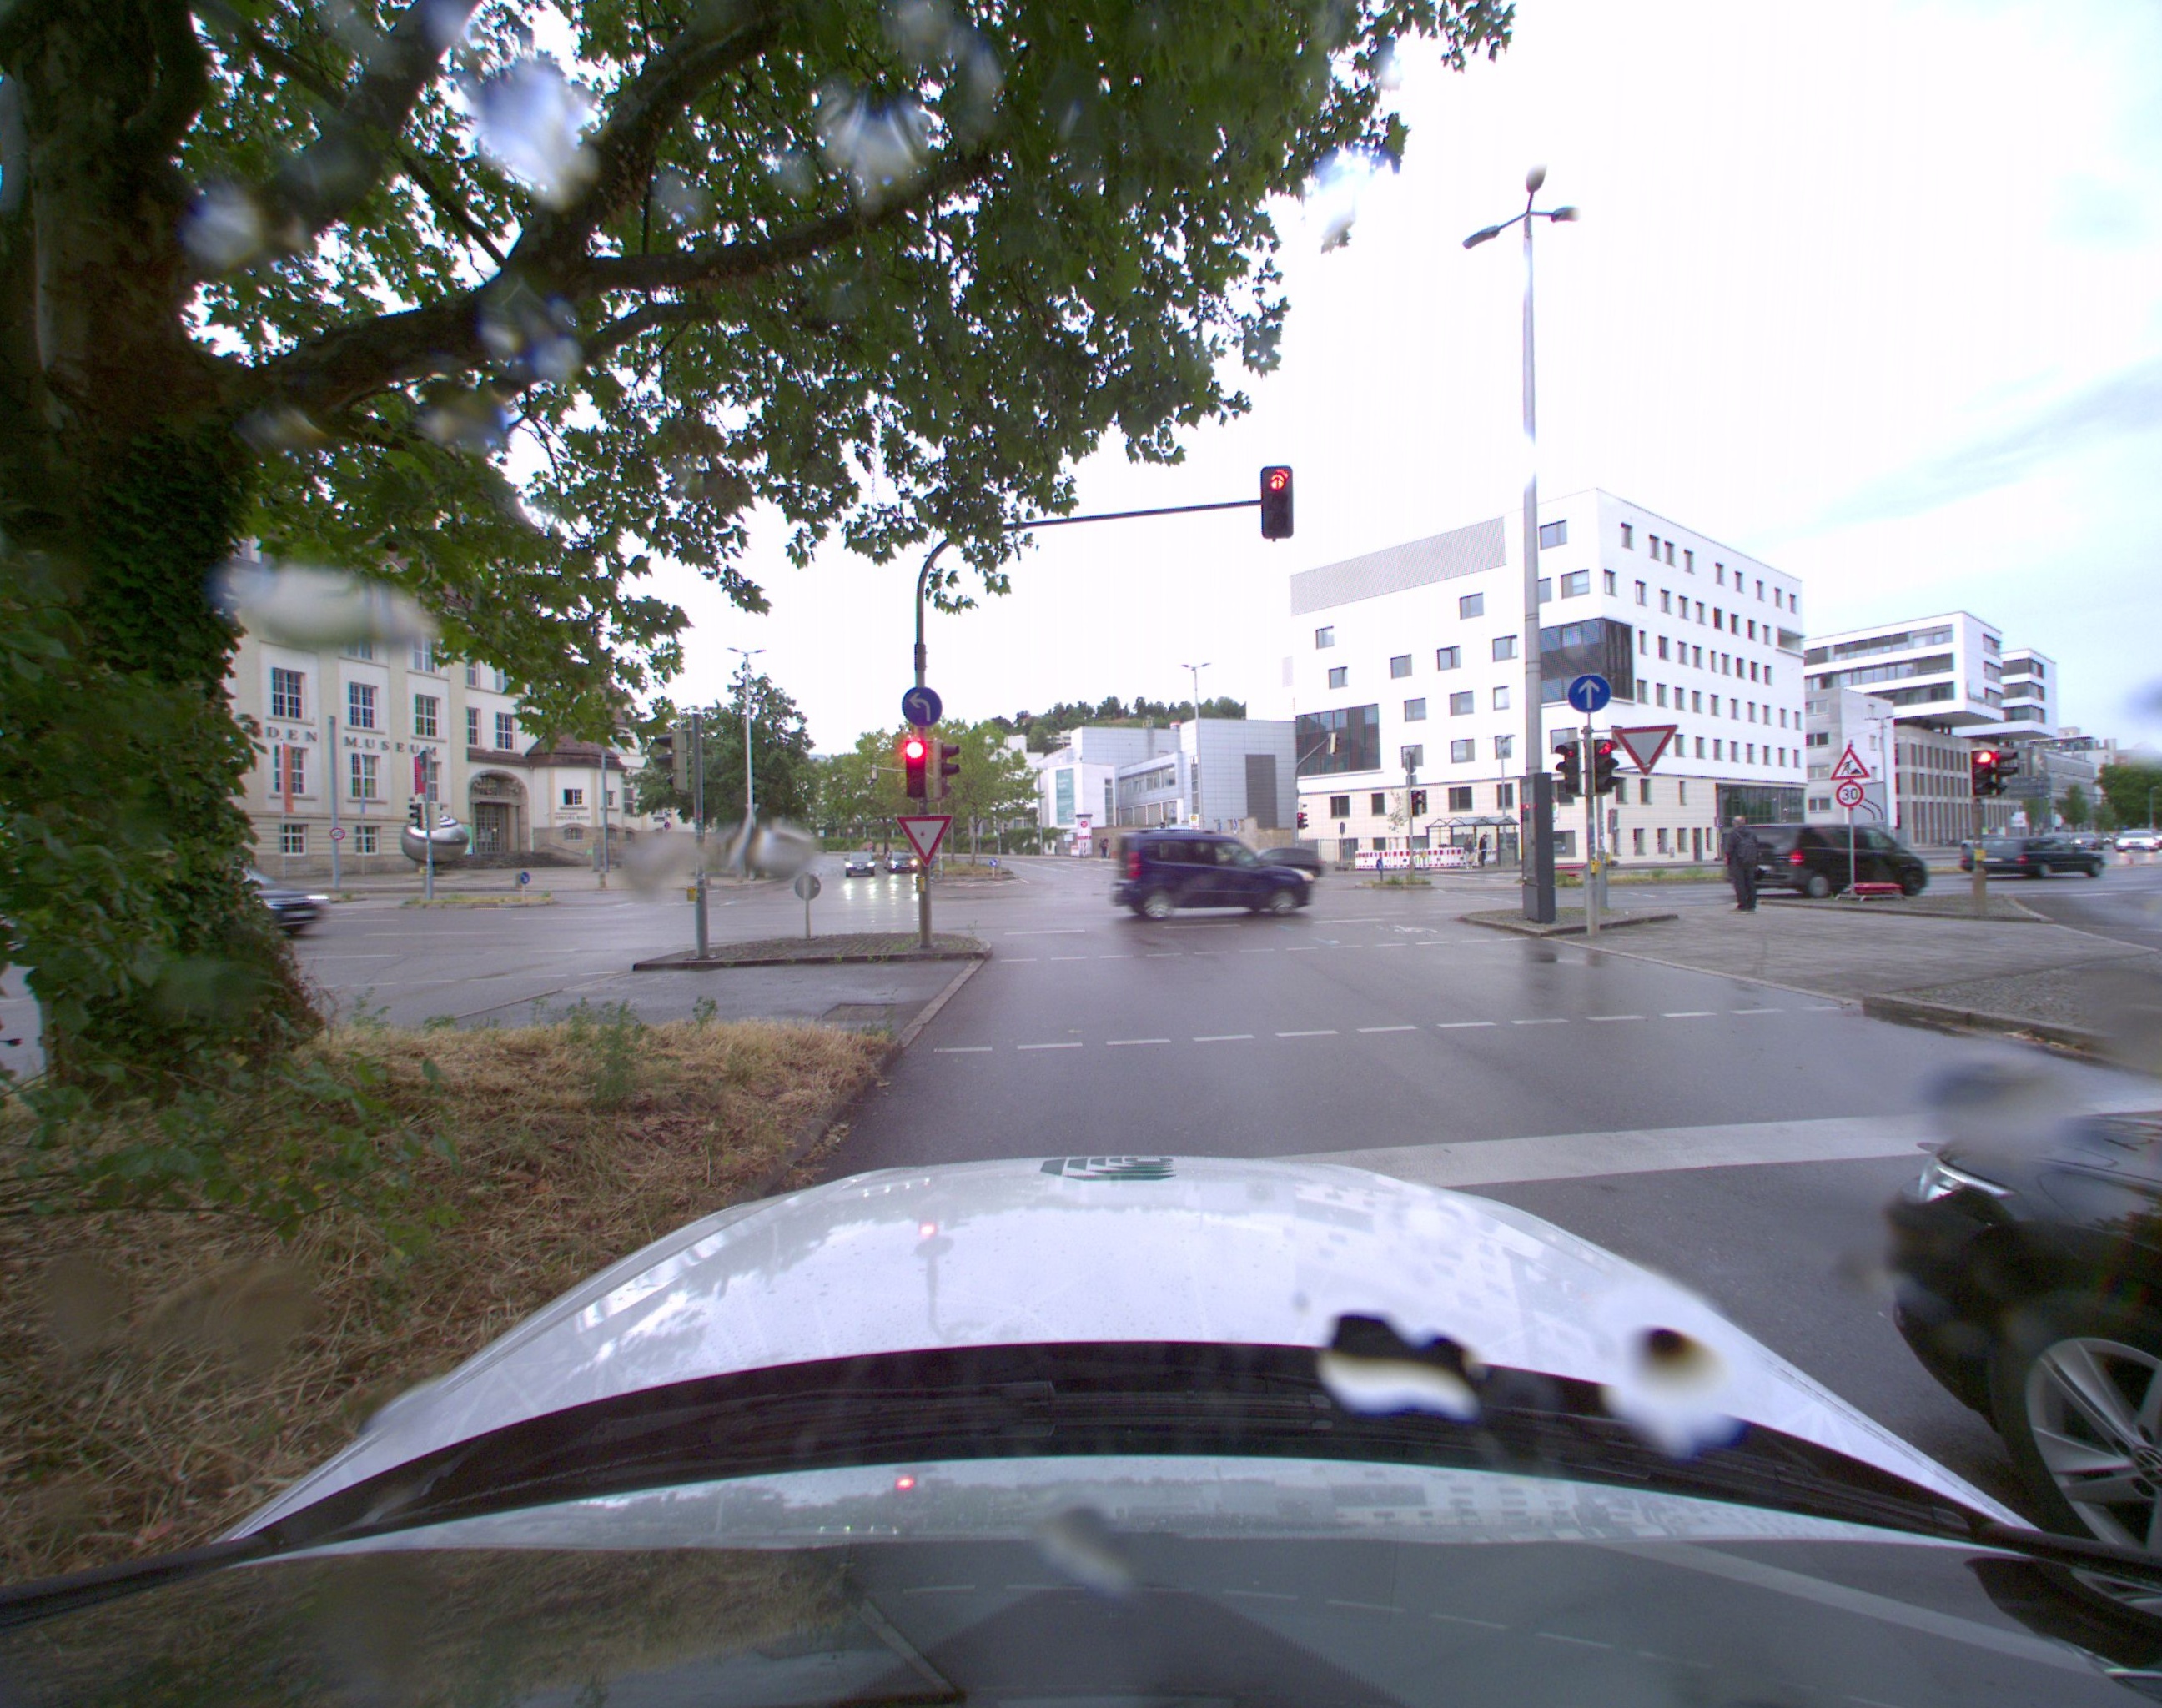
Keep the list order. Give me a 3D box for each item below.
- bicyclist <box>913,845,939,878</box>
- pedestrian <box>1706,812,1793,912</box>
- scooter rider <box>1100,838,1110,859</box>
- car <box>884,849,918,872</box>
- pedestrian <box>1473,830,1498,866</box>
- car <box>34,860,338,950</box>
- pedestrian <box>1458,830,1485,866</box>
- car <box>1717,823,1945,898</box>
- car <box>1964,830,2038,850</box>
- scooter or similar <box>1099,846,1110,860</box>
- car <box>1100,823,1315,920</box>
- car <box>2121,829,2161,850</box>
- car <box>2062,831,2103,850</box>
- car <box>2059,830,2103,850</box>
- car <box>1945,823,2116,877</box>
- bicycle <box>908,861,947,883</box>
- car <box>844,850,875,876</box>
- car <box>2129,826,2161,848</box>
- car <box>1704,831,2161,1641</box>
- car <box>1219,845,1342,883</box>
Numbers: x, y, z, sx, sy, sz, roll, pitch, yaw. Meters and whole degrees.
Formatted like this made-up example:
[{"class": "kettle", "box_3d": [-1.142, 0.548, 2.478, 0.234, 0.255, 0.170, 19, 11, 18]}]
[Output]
[{"class": "bicyclist", "box_3d": [-7.854, 0.389, 41.228, 1.132, 1.632, 0.695, 1, -1, -30]}, {"class": "pedestrian", "box_3d": [13.070, 0.164, 15.949, 0.826, 1.892, 1.025, 0, -1, -7]}, {"class": "scooter rider", "box_3d": [2.089, -0.457, 72.316, 0.725, 1.883, 0.628, 0, -1, -19]}, {"class": "car", "box_3d": [-12.901, 0.434, 58.217, 1.795, 1.584, 3.973, -2, 1, -20]}, {"class": "pedestrian", "box_3d": [21.845, -0.330, 43.981, 0.995, 1.935, 0.957, 0, -1, 11]}, {"class": "car", "box_3d": [-18.847, 1.039, 17.274, 4.651, 1.705, 1.800, -1, 1, 4]}, {"class": "pedestrian", "box_3d": [20.171, -0.323, 42.042, 0.951, 1.840, 0.821, 0, -1, -10]}, {"class": "car", "box_3d": [19.359, 0.125, 21.082, 4.775, 1.809, 1.992, -1, 0, -13]}, {"class": "car", "box_3d": [76.335, -1.158, 67.643, 1.949, 1.557, 4.073, 0, 0, 8]}, {"class": "scooter or similar", "box_3d": [2.079, -0.117, 72.294, 0.593, 1.239, 1.305, 0, -1, -19]}, {"class": "car", "box_3d": [2.707, 0.335, 17.846, 4.296, 1.908, 1.791, -1, 1, -11]}, {"class": "car", "box_3d": [74.511, -1.029, 57.017, 4.409, 1.378, 1.977, -1, 1, -39]}, {"class": "car", "box_3d": [78.818, -1.078, 64.121, 4.409, 1.378, 1.977, -1, 1, -39]}, {"class": "car", "box_3d": [72.392, -1.045, 58.976, 4.409, 1.378, 1.977, -1, 1, -39]}, {"class": "car", "box_3d": [32.878, -0.146, 28.221, 4.965, 1.673, 1.989, -2, 0, -17]}, {"class": "bicycle", "box_3d": [-7.796, 0.890, 41.253, 1.826, 1.056, 0.642, -1, -1, -29]}, {"class": "car", "box_3d": [-14.747, 0.578, 54.260, 1.871, 1.564, 4.254, -2, 1, -15]}, {"class": "car", "box_3d": [84.449, -1.385, 64.316, 4.409, 1.664, 1.977, -1, 1, -39]}, {"class": "car", "box_3d": [2.798, 0.713, 0.315, 1.665, 1.466, 4.512, -1, 1, 0]}, {"class": "car", "box_3d": [7.931, 0.377, 32.555, 4.367, 1.378, 1.996, -1, 0, -6]}]
